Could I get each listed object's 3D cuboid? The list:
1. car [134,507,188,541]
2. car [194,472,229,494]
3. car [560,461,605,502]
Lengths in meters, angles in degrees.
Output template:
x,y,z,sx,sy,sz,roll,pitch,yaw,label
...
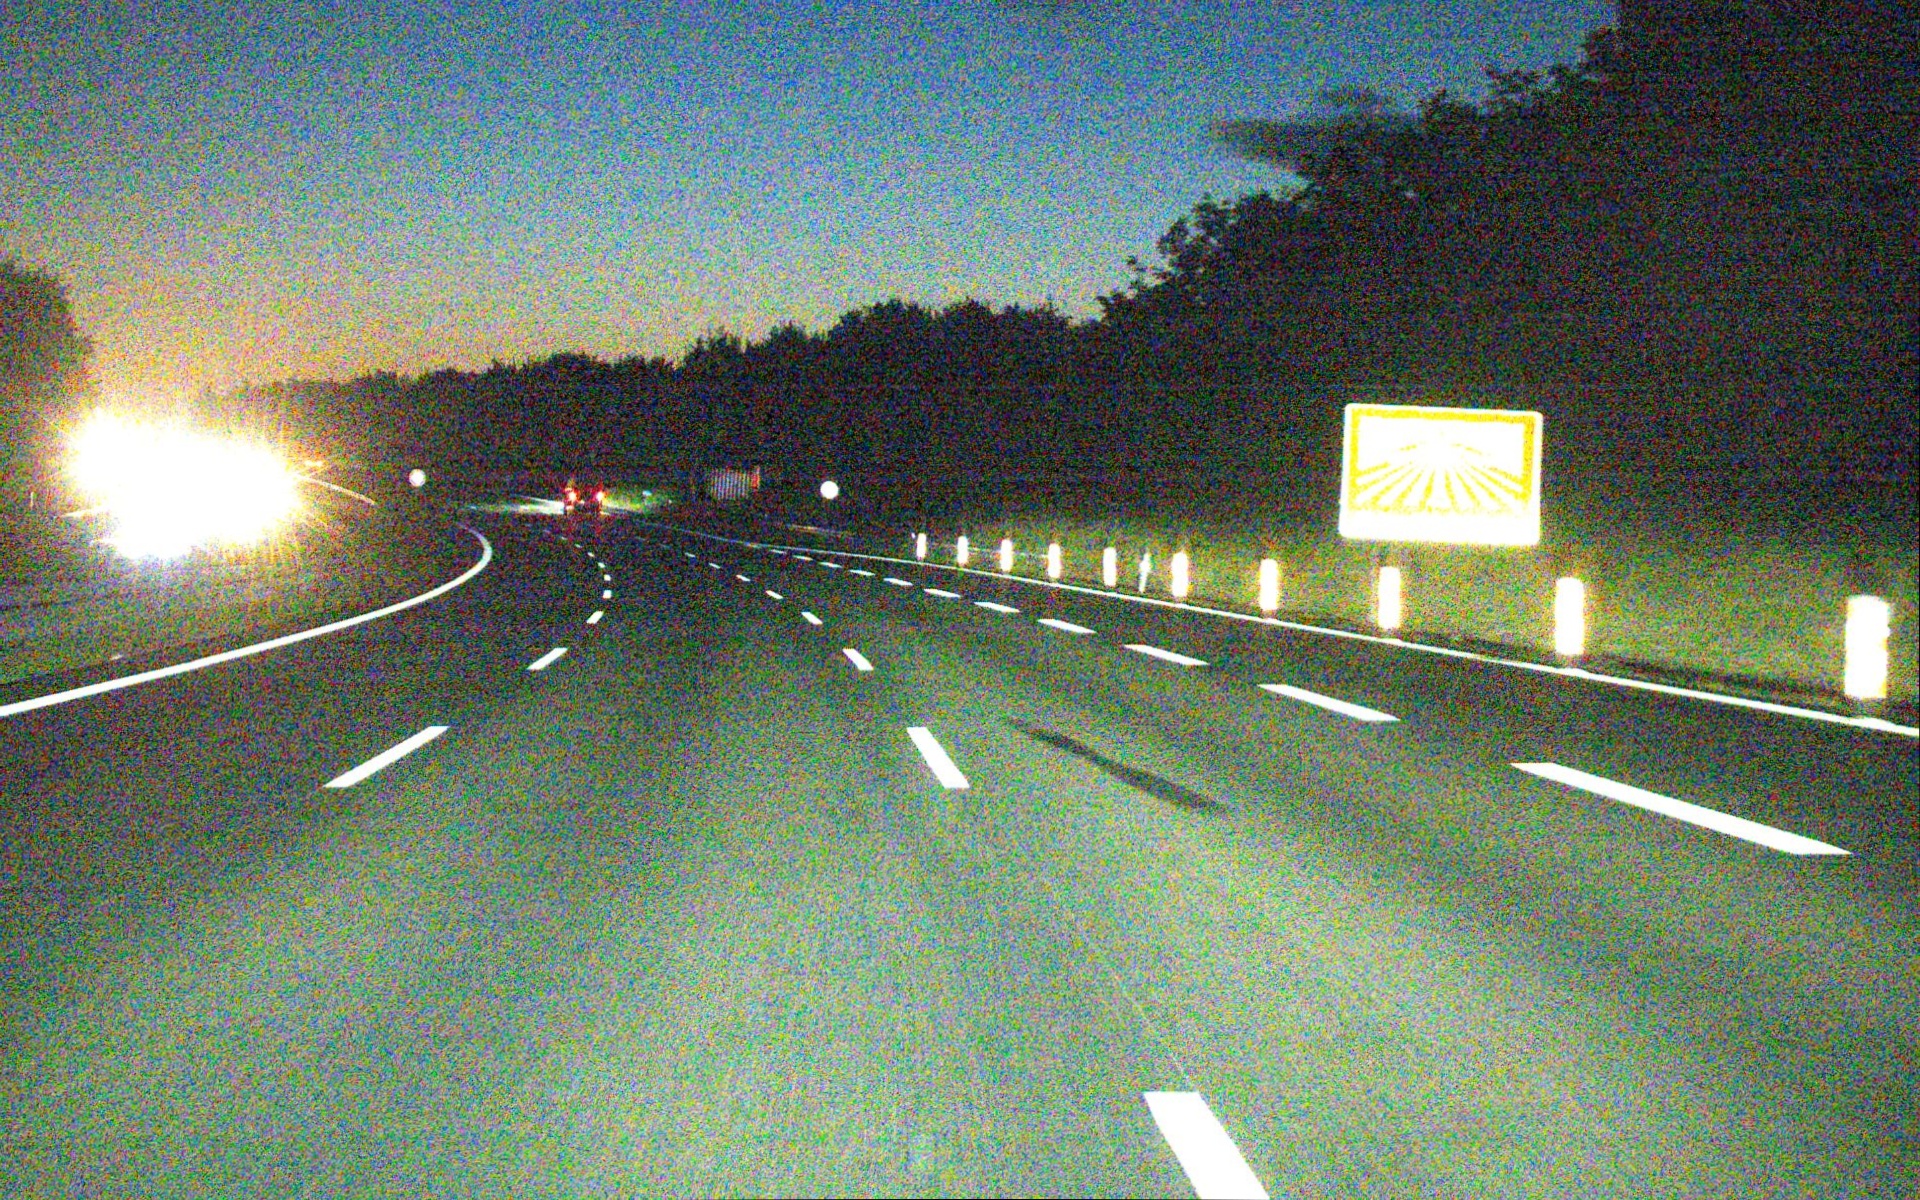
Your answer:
x,y,z,sx,sy,sz,roll,pitch,yaw,label
-36.335,-3.478,156.440,1.993,1.503,4.317,0,2,-7,car
-51.166,-7.996,234.995,1.993,1.503,4.001,0,2,-7,car
-25.026,-7.860,227.829,2.527,2.544,6.053,2,2,-9,car
